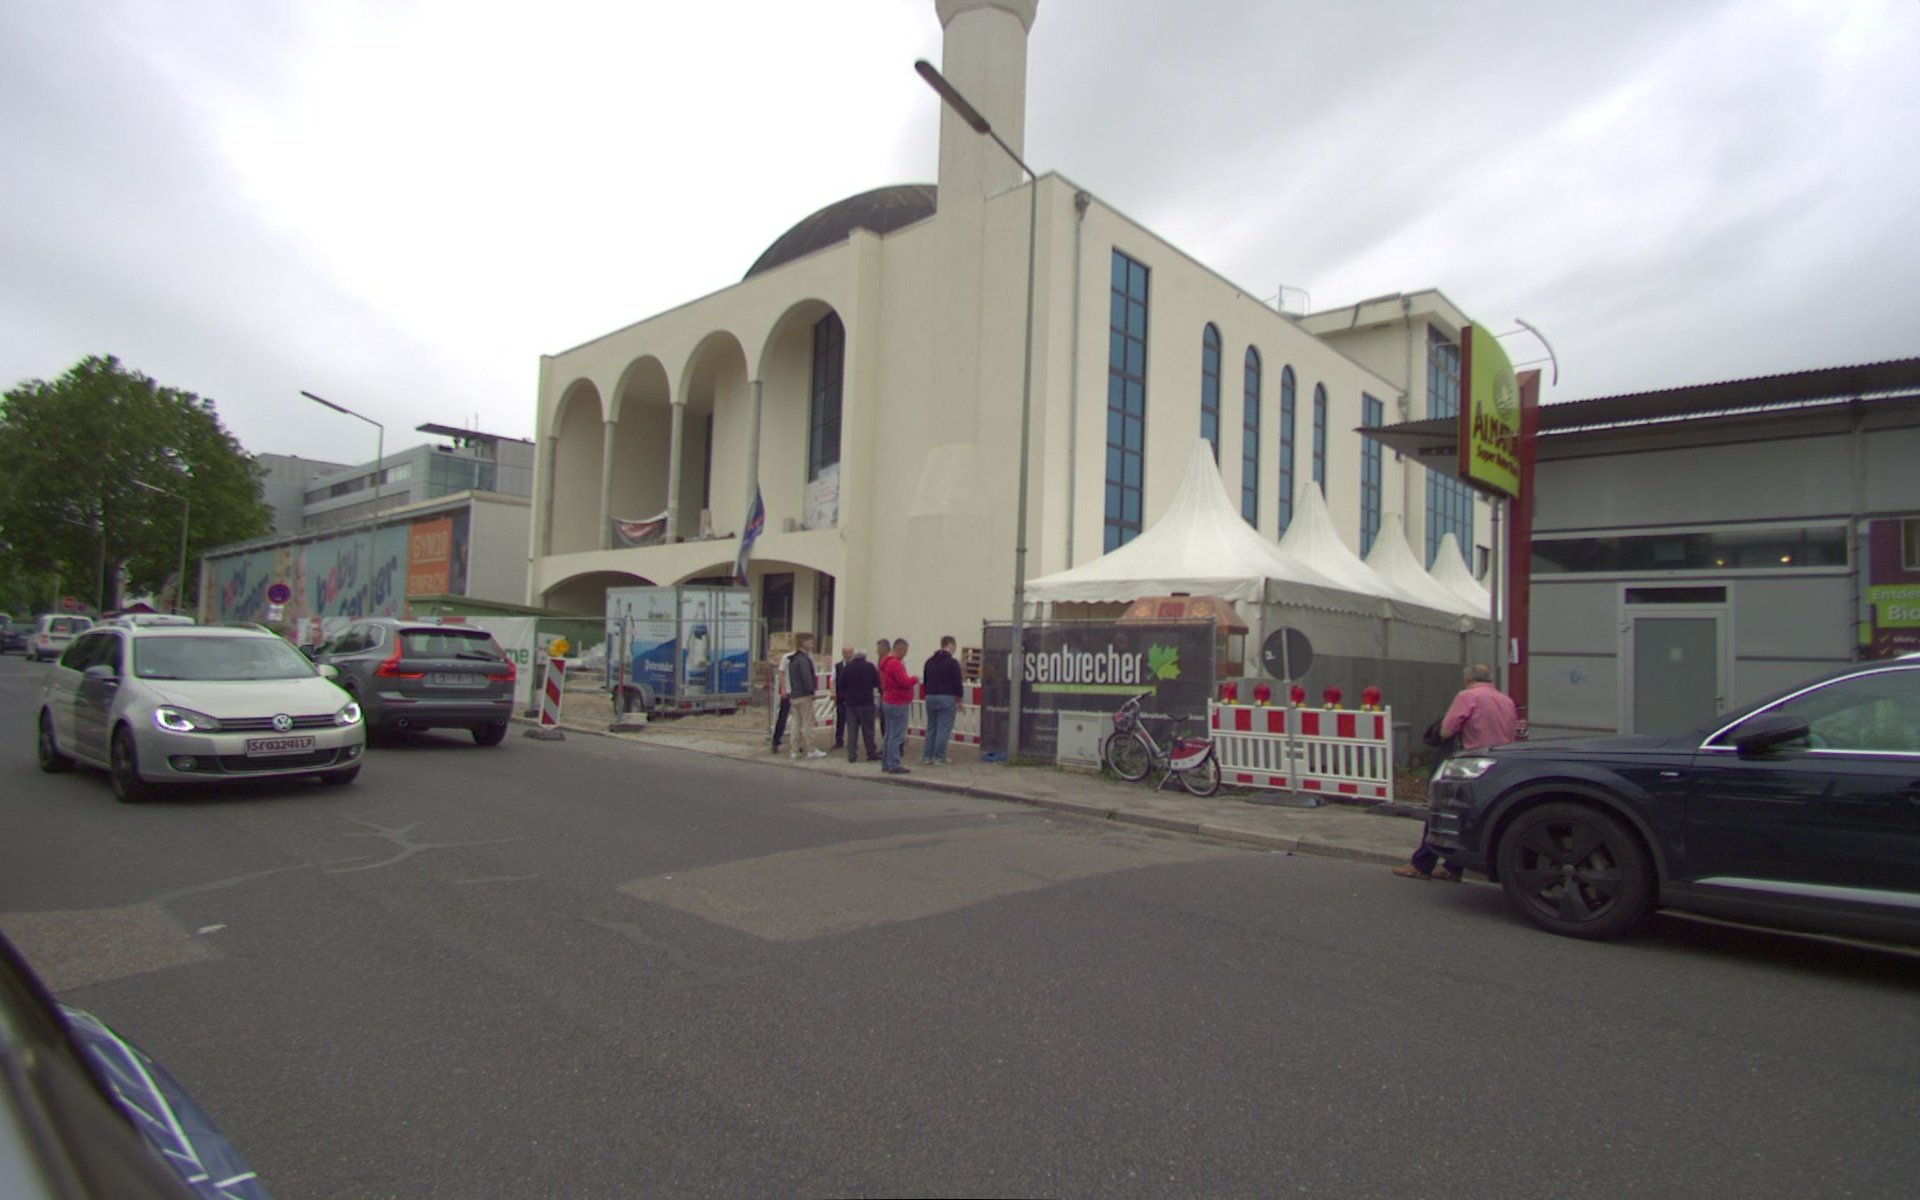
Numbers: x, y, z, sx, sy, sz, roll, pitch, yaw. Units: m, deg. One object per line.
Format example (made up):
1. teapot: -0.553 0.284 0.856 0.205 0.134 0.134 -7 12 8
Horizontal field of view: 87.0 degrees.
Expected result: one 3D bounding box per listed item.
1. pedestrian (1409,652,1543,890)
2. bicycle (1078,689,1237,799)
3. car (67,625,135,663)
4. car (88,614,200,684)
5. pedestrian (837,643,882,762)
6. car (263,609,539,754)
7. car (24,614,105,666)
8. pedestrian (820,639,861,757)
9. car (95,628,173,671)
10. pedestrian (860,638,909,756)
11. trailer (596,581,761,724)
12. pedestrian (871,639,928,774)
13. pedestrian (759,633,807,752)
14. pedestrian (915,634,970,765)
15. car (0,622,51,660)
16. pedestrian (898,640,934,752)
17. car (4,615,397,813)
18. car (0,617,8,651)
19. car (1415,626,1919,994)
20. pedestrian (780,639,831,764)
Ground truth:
1. pedestrian: 3.838 1.245 7.561 0.667 1.634 0.652 4 -6 7
2. bicycle: 2.294 1.651 11.988 0.537 1.086 1.904 4 -3 -41
3. car: -40.776 2.082 48.018 4.150 1.586 1.903 -1 -8 44
4. car: -22.462 1.337 27.807 4.134 1.774 1.671 -1 -4 42
5. pedestrian: -1.427 1.437 14.342 0.562 1.624 0.491 -1 -3 -9
6. car: -7.859 1.052 14.047 4.494 1.697 1.912 -1 -5 42
7. car: -34.921 1.551 39.416 4.383 1.821 1.775 0 -5 42
8. pedestrian: -1.832 1.492 15.540 0.521 1.763 0.490 -2 -3 2
9. car: -34.550 2.049 42.307 4.150 1.586 1.903 -1 -8 44
10. pedestrian: -1.116 1.429 14.938 0.568 1.706 0.409 -3 -3 16
11. trailer: -5.704 1.056 20.395 1.777 2.627 3.193 6 -5 -44
12. pedestrian: -0.781 1.360 13.097 0.510 1.706 0.529 -3 -3 22
13. pedestrian: -2.715 1.404 15.548 0.680 1.763 0.491 -1 -3 -8
14. pedestrian: -0.244 1.346 13.920 0.686 1.731 0.687 -2 -3 0
15. car: -42.476 1.826 45.671 3.947 1.584 1.710 -1 -6 43
16. pedestrian: -0.664 1.444 15.418 0.484 1.623 0.540 1 2 3
17. car: -7.250 0.905 9.521 4.288 1.462 1.737 0 -3 36
18. car: -60.622 2.018 62.791 4.956 2.029 1.905 0 -4 44
19. car: 5.191 1.088 5.352 4.730 1.704 1.845 -1 -8 44
20. pedestrian: -2.258 1.462 14.771 0.680 1.763 0.491 -1 -3 -8
